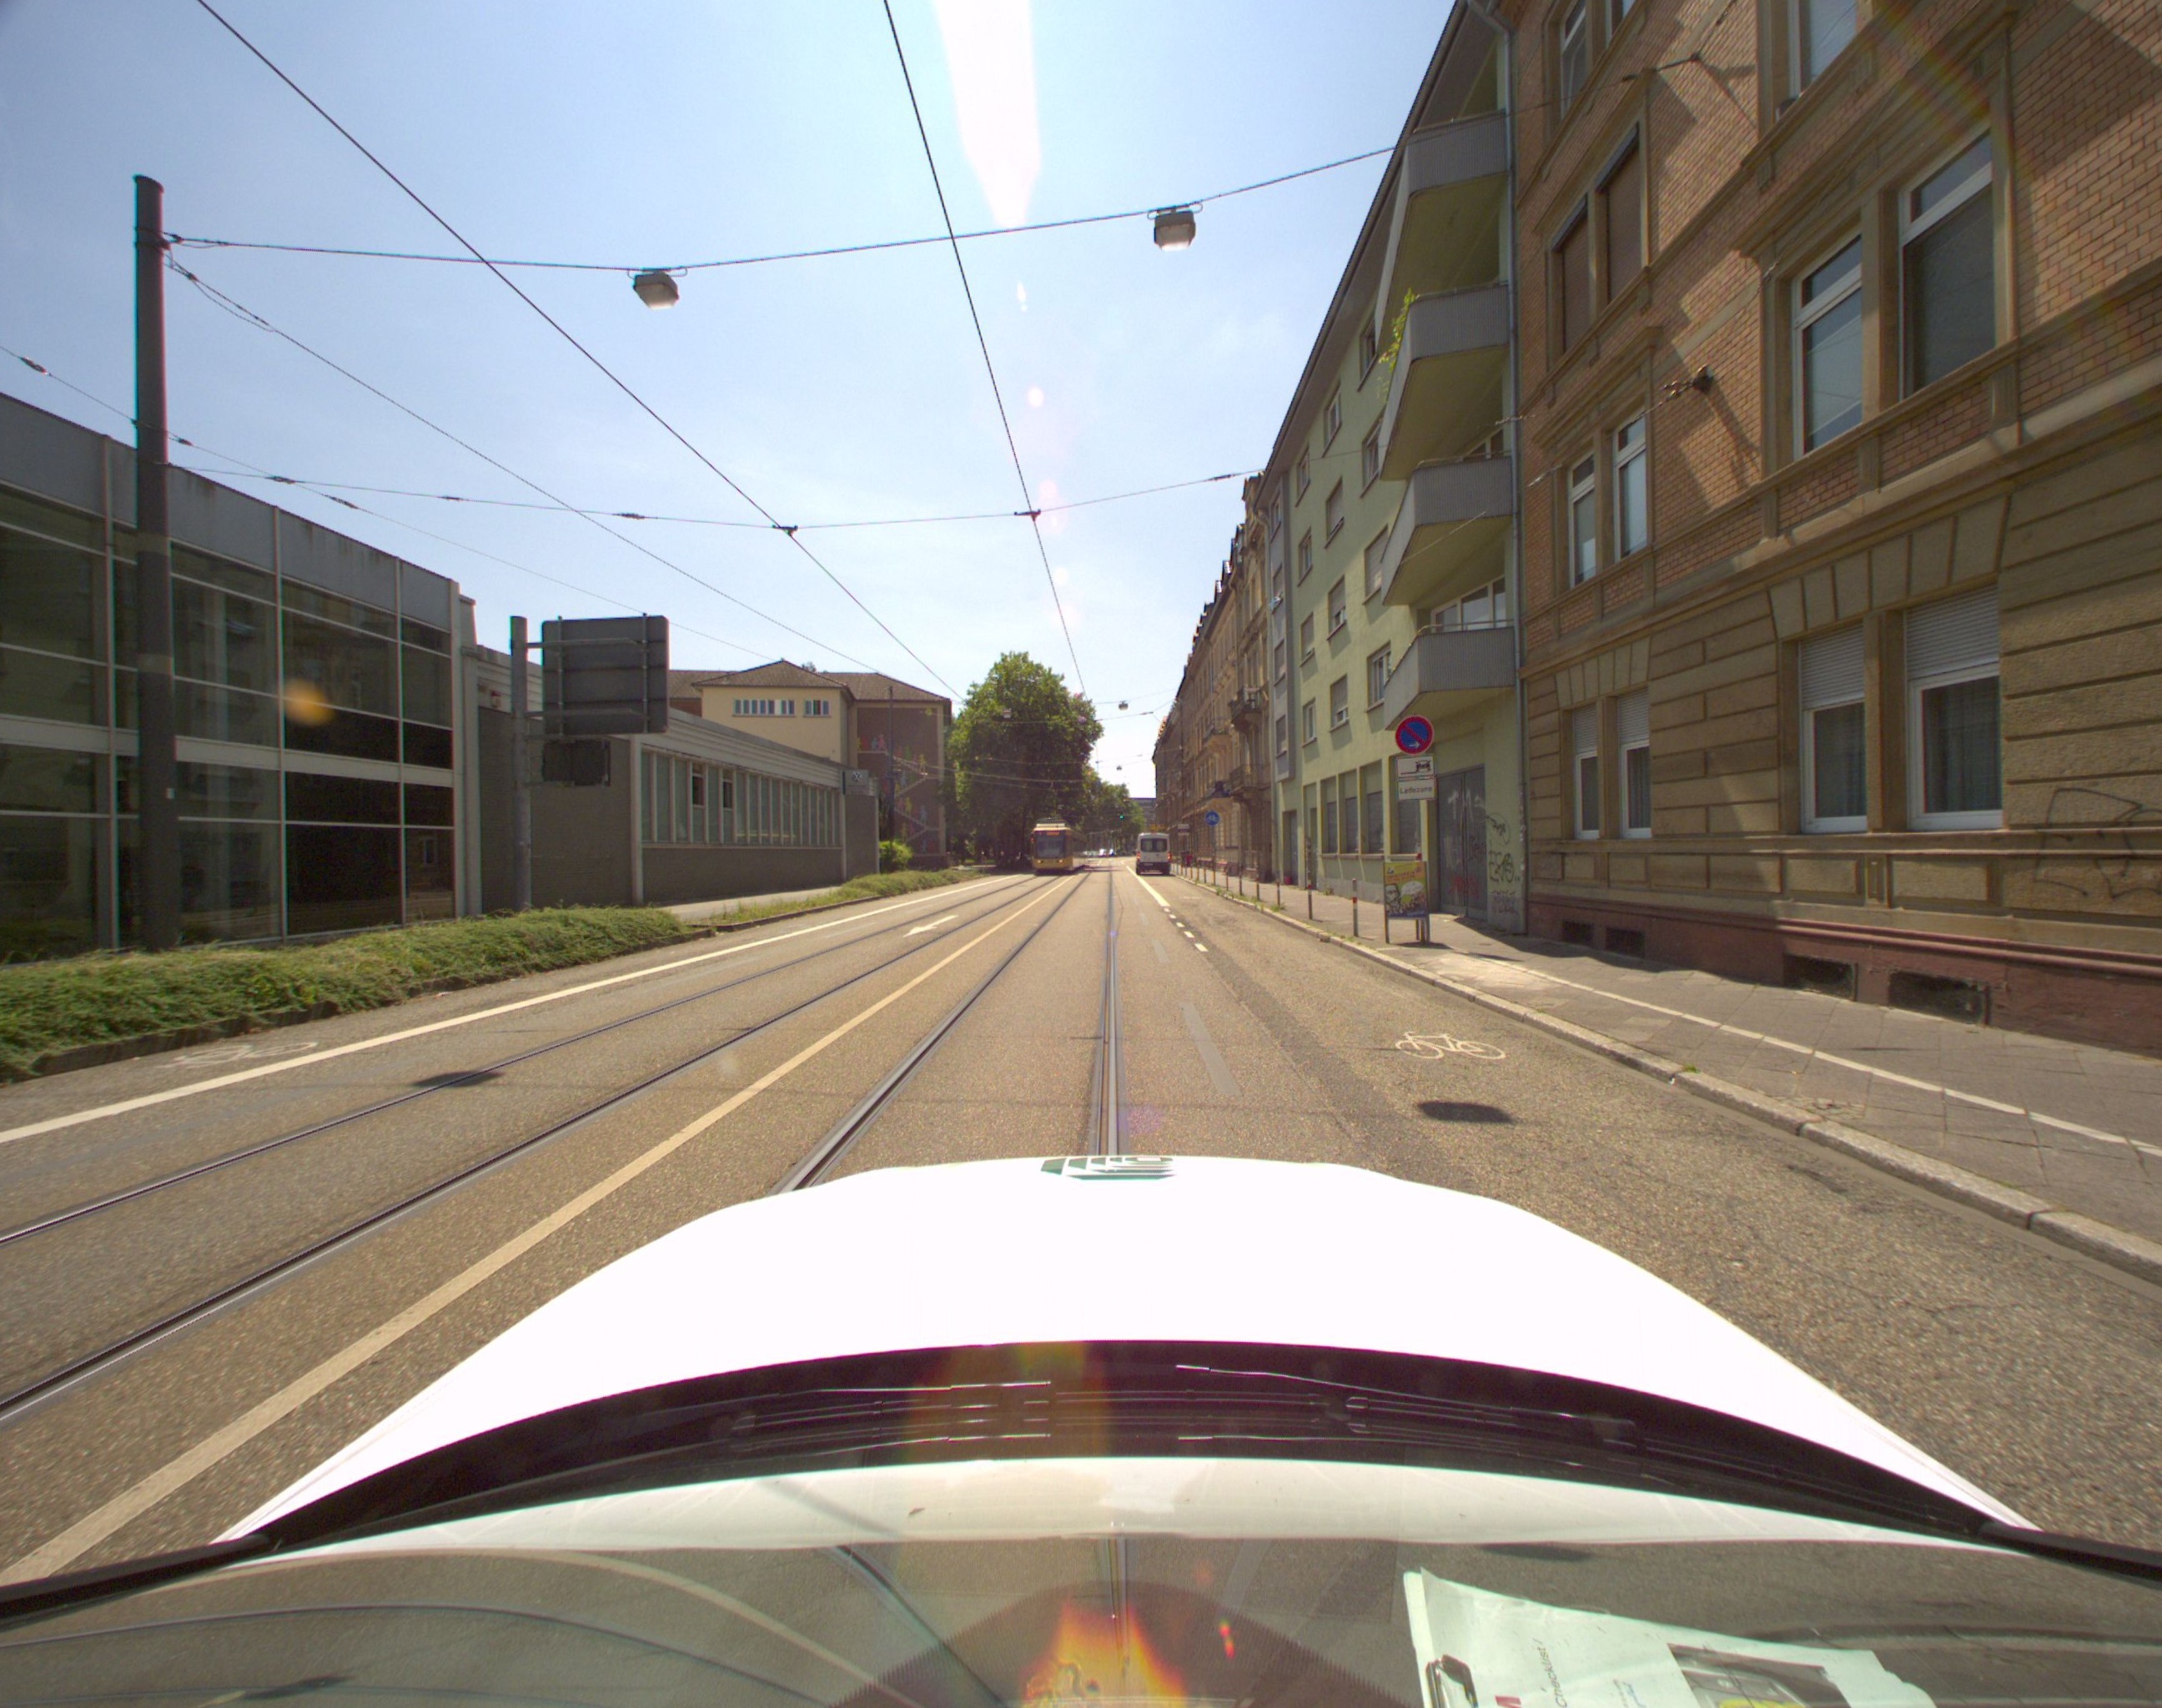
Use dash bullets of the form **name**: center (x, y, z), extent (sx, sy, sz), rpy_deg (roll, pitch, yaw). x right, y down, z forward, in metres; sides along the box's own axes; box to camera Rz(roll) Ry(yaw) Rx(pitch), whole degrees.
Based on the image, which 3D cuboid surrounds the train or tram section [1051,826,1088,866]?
- **train or tram section**: center (-0.955, -0.748, 79.665), extent (2.949, 3.580, 13.429), rpy_deg (-1, 0, 2)

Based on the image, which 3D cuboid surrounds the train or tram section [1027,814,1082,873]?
- **train or tram section**: center (-1.652, -0.684, 57.245), extent (2.949, 3.580, 13.429), rpy_deg (-1, 0, 2)

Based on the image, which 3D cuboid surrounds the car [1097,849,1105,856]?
- **car**: center (4.097, -0.223, 169.354), extent (1.523, 1.408, 3.489), rpy_deg (-1, 0, 0)

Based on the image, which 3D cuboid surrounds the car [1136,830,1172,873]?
- **car**: center (4.495, -0.154, 50.953), extent (2.058, 2.501, 5.459), rpy_deg (0, 0, 3)

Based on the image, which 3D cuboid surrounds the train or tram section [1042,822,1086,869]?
- **train or tram section**: center (-1.276, -0.719, 69.420), extent (2.949, 3.580, 13.429), rpy_deg (-1, 0, 2)

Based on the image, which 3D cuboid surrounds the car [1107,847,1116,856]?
- **car**: center (6.616, -0.563, 175.894), extent (1.669, 1.860, 3.999), rpy_deg (-1, 0, -1)
